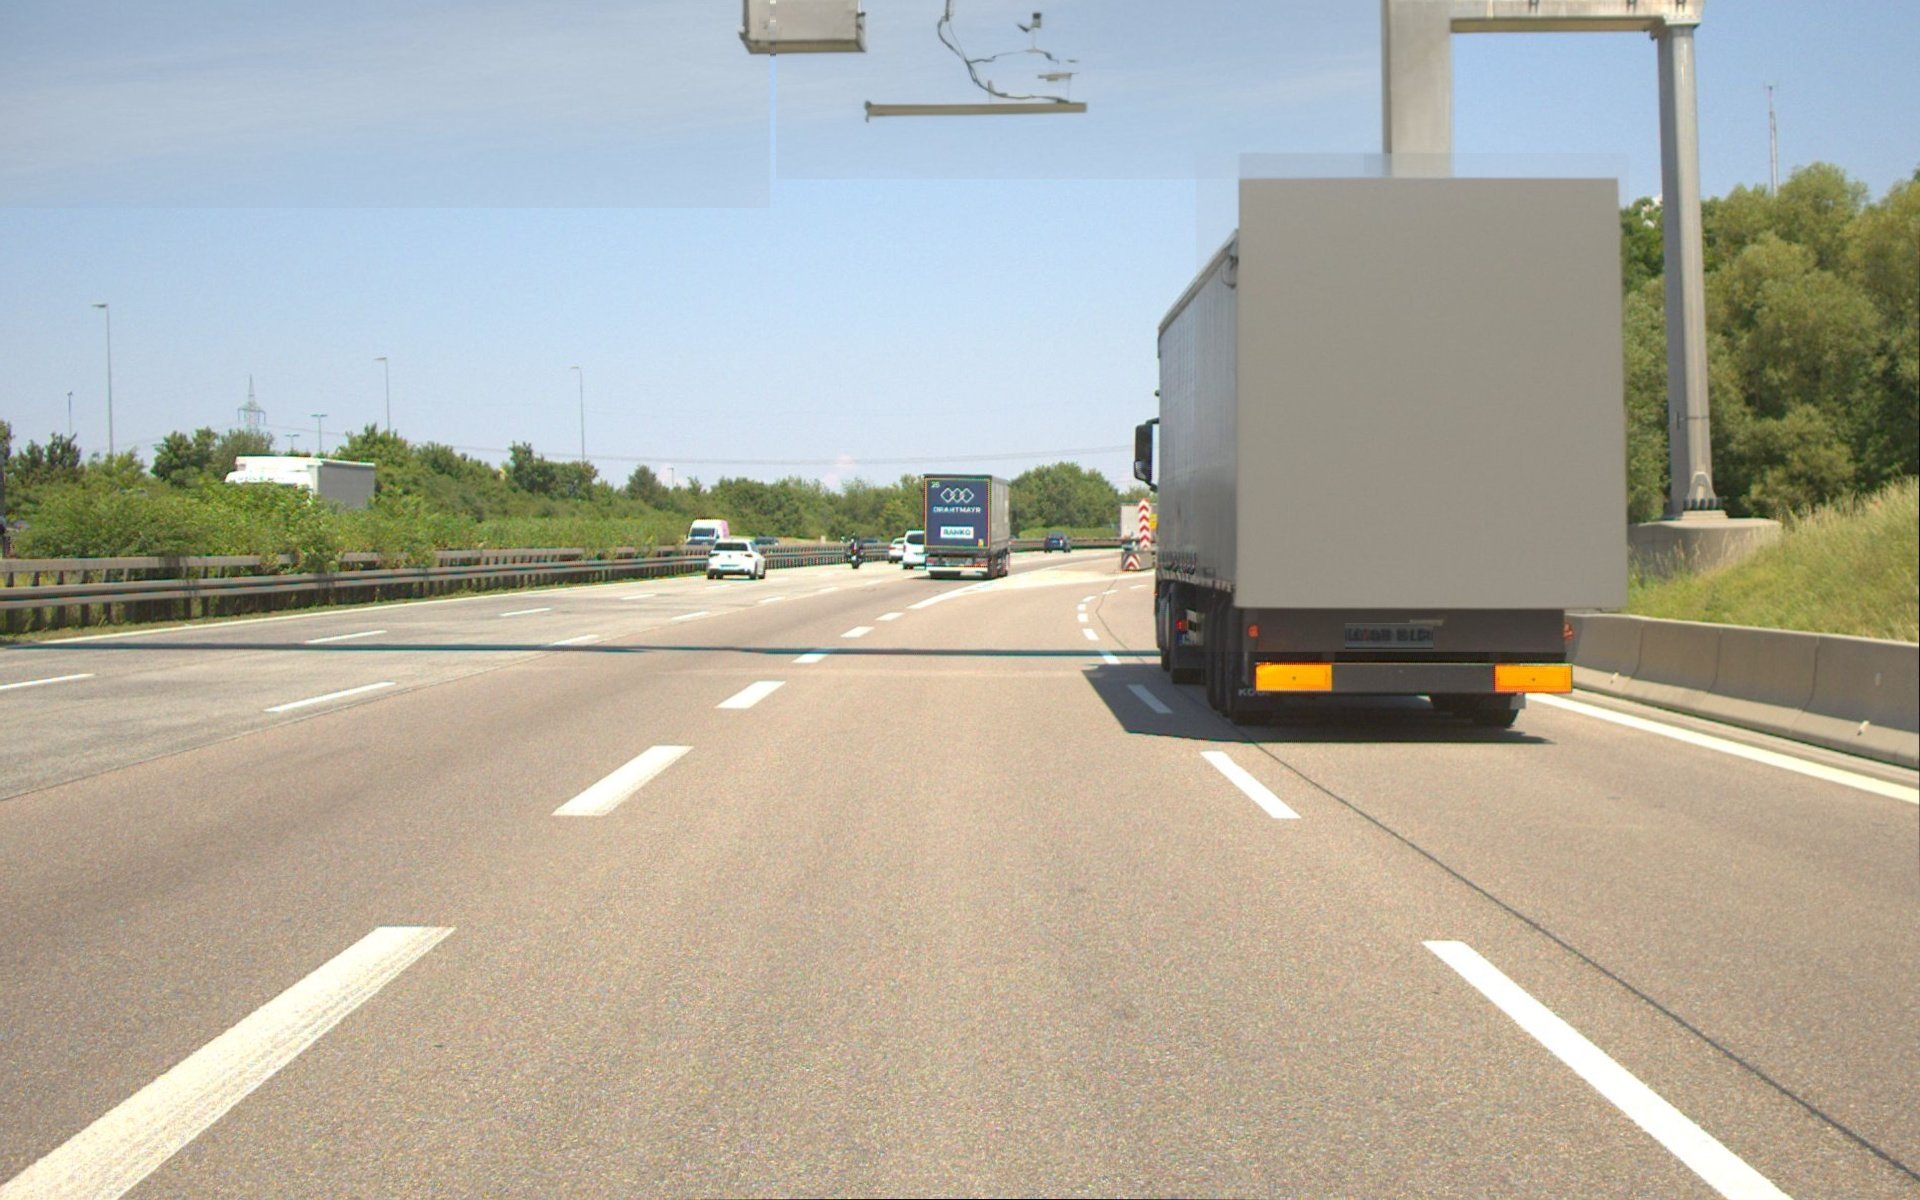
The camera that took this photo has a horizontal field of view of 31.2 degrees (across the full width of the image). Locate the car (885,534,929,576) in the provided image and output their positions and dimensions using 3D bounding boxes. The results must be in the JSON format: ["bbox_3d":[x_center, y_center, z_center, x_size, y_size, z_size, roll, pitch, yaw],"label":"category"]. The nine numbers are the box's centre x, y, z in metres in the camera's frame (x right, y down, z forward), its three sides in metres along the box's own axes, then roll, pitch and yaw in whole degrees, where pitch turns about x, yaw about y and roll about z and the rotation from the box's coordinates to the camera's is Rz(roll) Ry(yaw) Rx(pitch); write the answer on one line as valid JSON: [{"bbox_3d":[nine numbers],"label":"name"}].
[{"bbox_3d":[-2.547,-2.159,166.537,1.930,1.845,4.692,-1,-1,2],"label":"car"}]

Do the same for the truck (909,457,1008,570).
[{"bbox_3d":[0.010,-3.423,137.405,3.747,4.255,14.496,0,1,1],"label":"truck"}]

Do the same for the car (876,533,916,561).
[{"bbox_3d":[-3.605,-2.986,194.156,1.876,1.436,5.125,0,0,3],"label":"car"}]

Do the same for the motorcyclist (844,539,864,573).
[{"bbox_3d":[-5.073,-2.108,164.734,0.893,1.591,1.299,-1,2,1],"label":"motorcyclist"}]

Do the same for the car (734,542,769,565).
[{"bbox_3d":[-13.256,-2.962,218.850,1.782,1.435,4.668,0,0,2],"label":"car"}]

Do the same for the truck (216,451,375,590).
[{"bbox_3d":[-21.023,-2.515,109.370,2.753,4.193,10.403,0,1,2],"label":"truck"}]

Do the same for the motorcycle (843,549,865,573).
[{"bbox_3d":[-5.076,-1.872,164.794,0.913,1.085,2.850,-1,1,1],"label":"motorcycle"}]

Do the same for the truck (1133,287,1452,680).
[{"bbox_3d":[3.613,-1.334,39.142,2.928,4.001,7.584,-1,2,1],"label":"truck"}]

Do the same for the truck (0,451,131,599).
[{"bbox_3d":[-25.577,-2.026,93.514,2.753,3.780,12.329,0,1,2],"label":"truck"}]

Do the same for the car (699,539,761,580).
[{"bbox_3d":[-8.289,-1.452,124.054,1.782,1.435,4.668,0,0,2],"label":"car"}]

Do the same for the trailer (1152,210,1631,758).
[{"bbox_3d":[3.522,-1.072,31.389,2.928,4.001,12.040,-1,2,1],"label":"trailer"}]

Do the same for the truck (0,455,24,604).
[{"bbox_3d":[-25.793,-1.790,86.918,2.753,3.780,5.102,0,1,2],"label":"truck"}]
